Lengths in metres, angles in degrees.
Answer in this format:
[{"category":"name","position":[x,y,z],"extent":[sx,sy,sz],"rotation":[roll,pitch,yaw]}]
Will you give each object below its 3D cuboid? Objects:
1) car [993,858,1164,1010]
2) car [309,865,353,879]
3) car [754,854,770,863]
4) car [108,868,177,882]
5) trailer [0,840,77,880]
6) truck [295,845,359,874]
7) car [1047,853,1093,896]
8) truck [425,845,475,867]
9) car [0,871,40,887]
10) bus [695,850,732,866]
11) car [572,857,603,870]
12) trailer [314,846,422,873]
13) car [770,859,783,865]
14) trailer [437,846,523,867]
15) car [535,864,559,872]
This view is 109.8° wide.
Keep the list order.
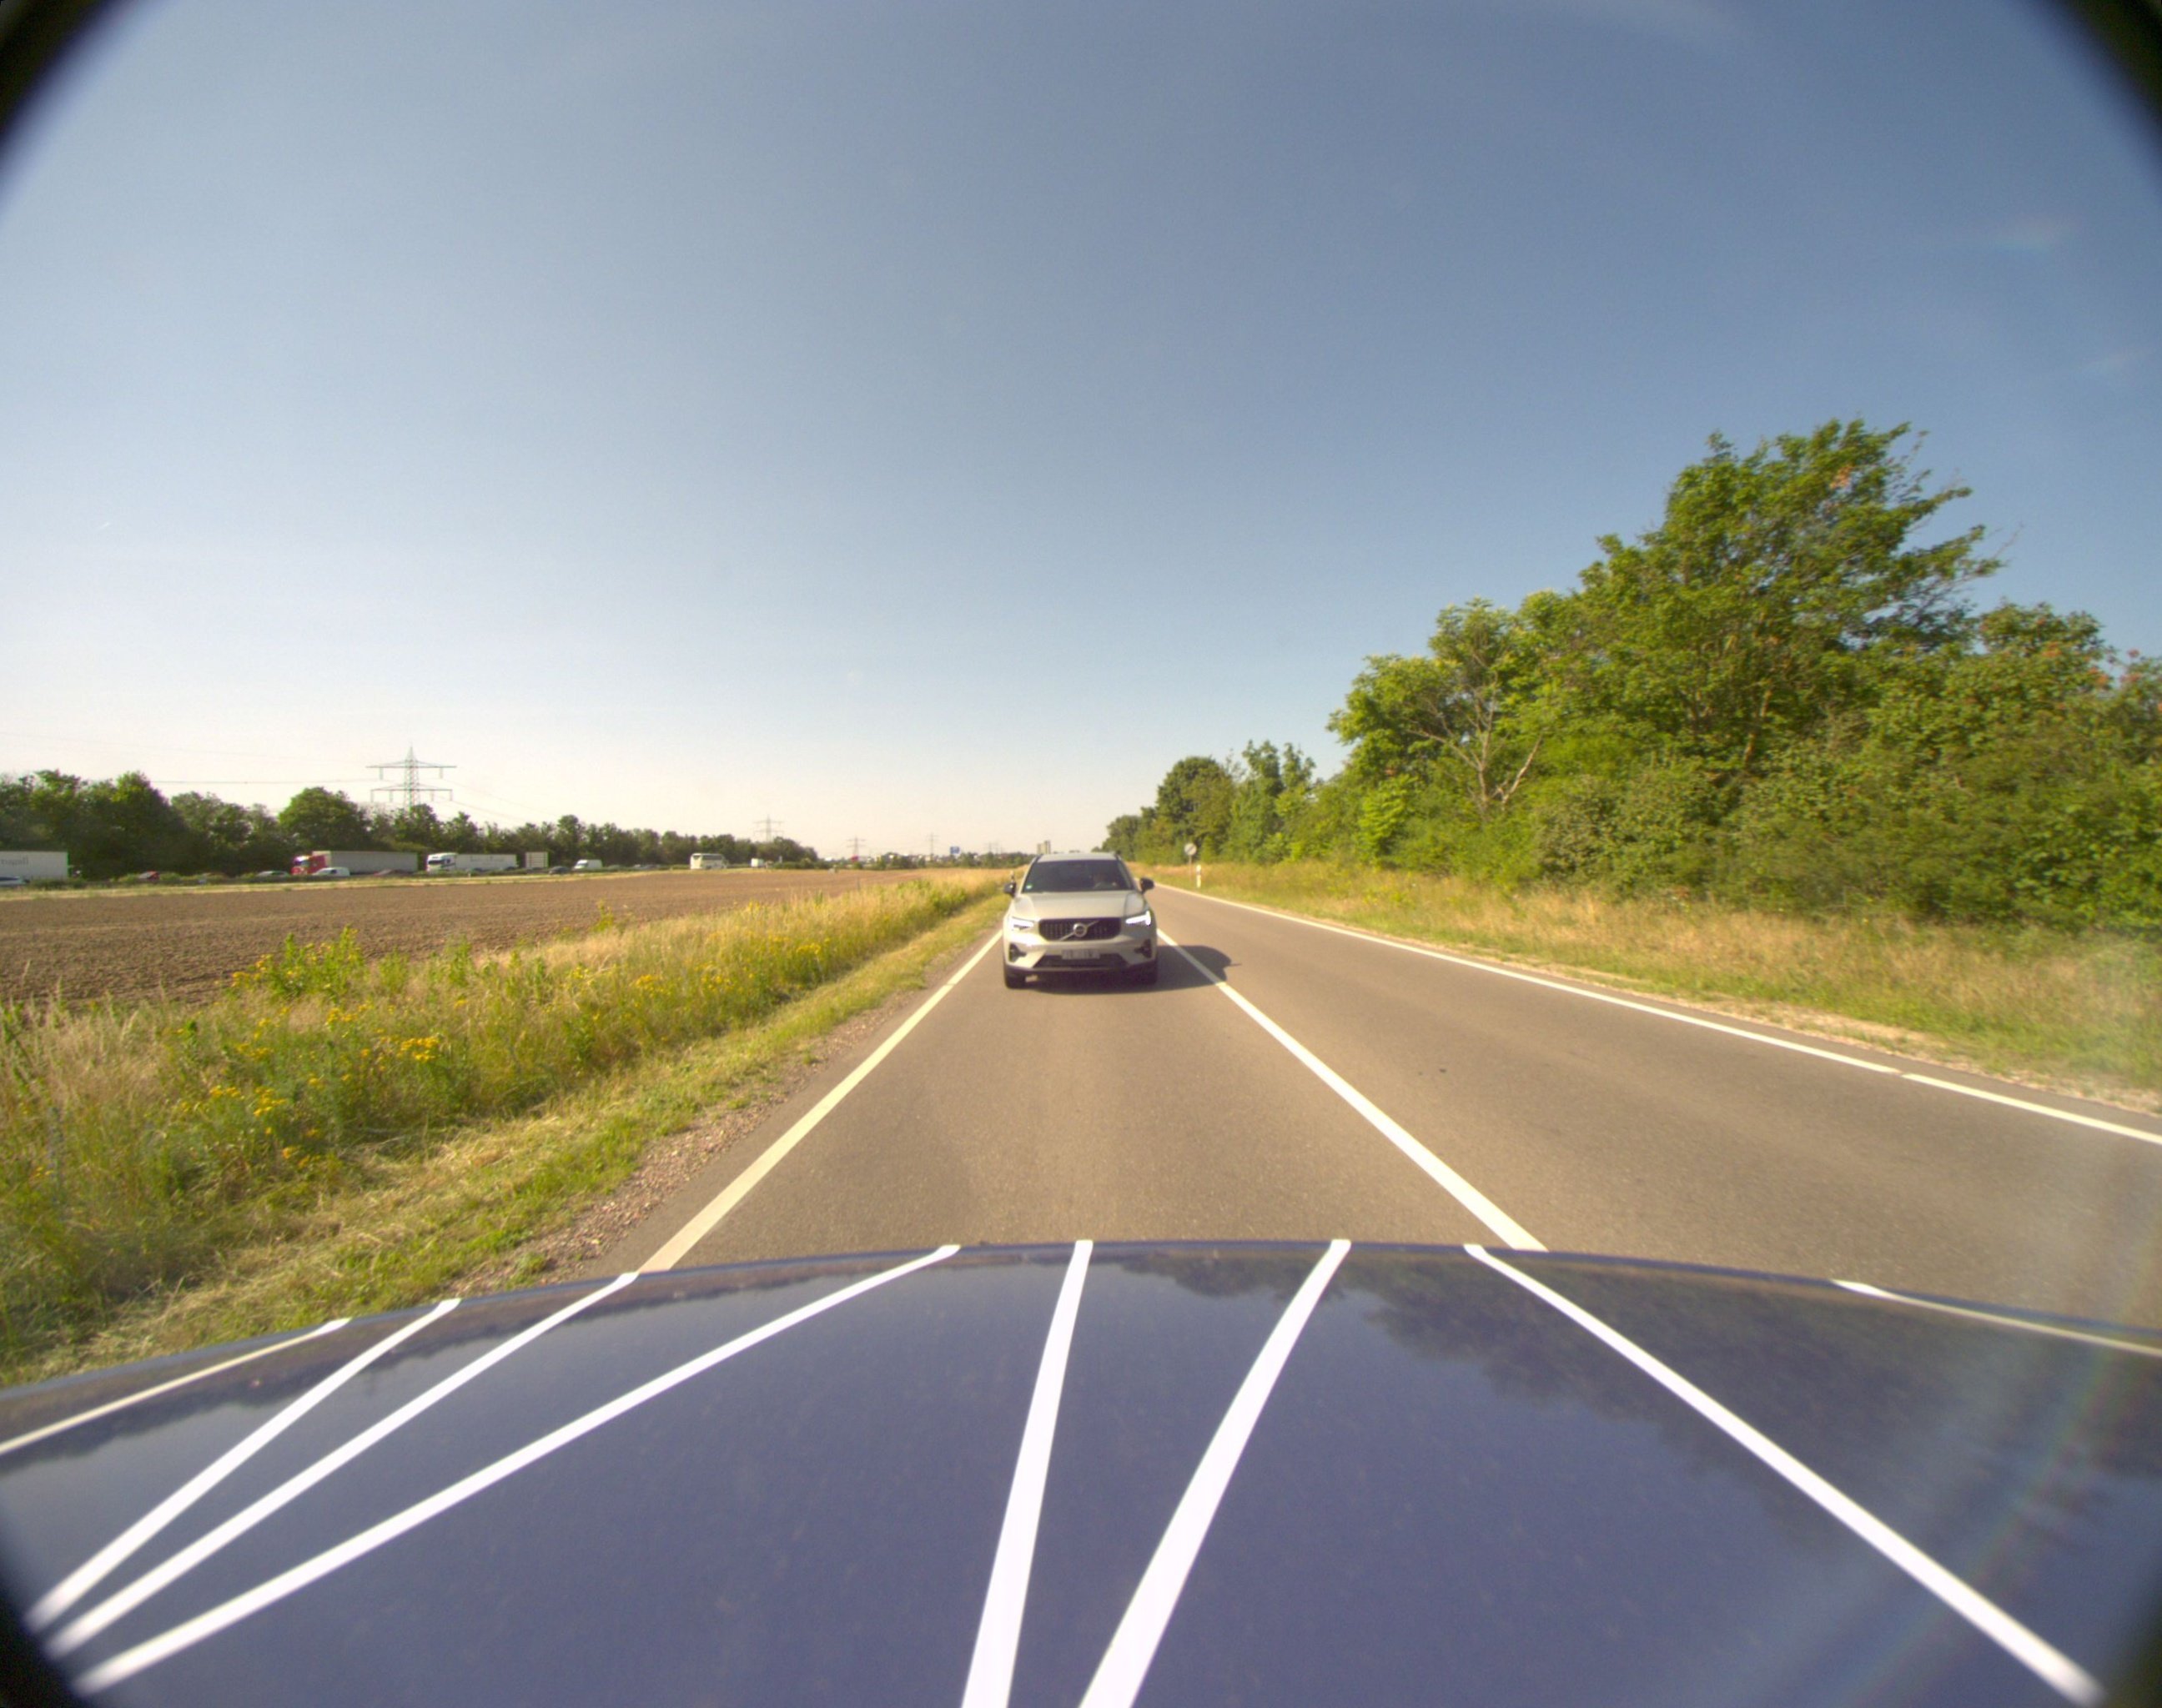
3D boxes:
[{"category":"car","position":[-0.034,0.891,10.449],"extent":[1.840,1.627,4.135],"rotation":[-2,0,0]},{"category":"car","position":[-97.056,2.277,98.370],"extent":[1.707,1.629,4.093],"rotation":[-3,0,-2]},{"category":"car","position":[-90.398,1.276,215.435],"extent":[1.999,2.358,5.520],"rotation":[-3,0,-1]},{"category":"car","position":[-97.261,2.165,78.819],"extent":[1.855,1.377,4.247],"rotation":[-2,0,-1]},{"category":"trailer","position":[-102.669,0.617,69.826],"extent":[3.079,3.711,13.365],"rotation":[-1,0,0]},{"category":"truck","position":[-103.440,0.742,104.355],"extent":[2.953,3.711,5.869],"rotation":[-1,0,-1]},{"category":"car","position":[-0.475,0.828,31.959],"extent":[1.790,1.664,4.000],"rotation":[-1,0,-1]},{"category":"truck","position":[-103.683,0.392,124.915],"extent":[3.211,3.510,6.108],"rotation":[0,0,-1]},{"category":"car","position":[-97.183,2.292,68.142],"extent":[1.855,1.377,4.247],"rotation":[-2,0,-1]},{"category":"bus","position":[-89.294,0.988,185.099],"extent":[2.469,3.781,14.546],"rotation":[-1,-1,-2]},{"category":"car","position":[-99.183,1.813,152.717],"extent":[2.042,2.432,6.413],"rotation":[-2,0,0]},{"category":"trailer","position":[-103.566,0.758,110.888],"extent":[2.953,3.711,13.781],"rotation":[-1,0,-1]},{"category":"car","position":[-85.584,2.288,213.585],"extent":[1.707,1.464,4.209],"rotation":[-3,0,0]},{"category":"trailer","position":[-103.833,0.410,131.833],"extent":[3.211,3.510,15.081],"rotation":[0,0,-1]},{"category":"car","position":[-89.305,2.259,127.137],"extent":[1.550,1.227,3.619],"rotation":[-4,0,-1]}]
